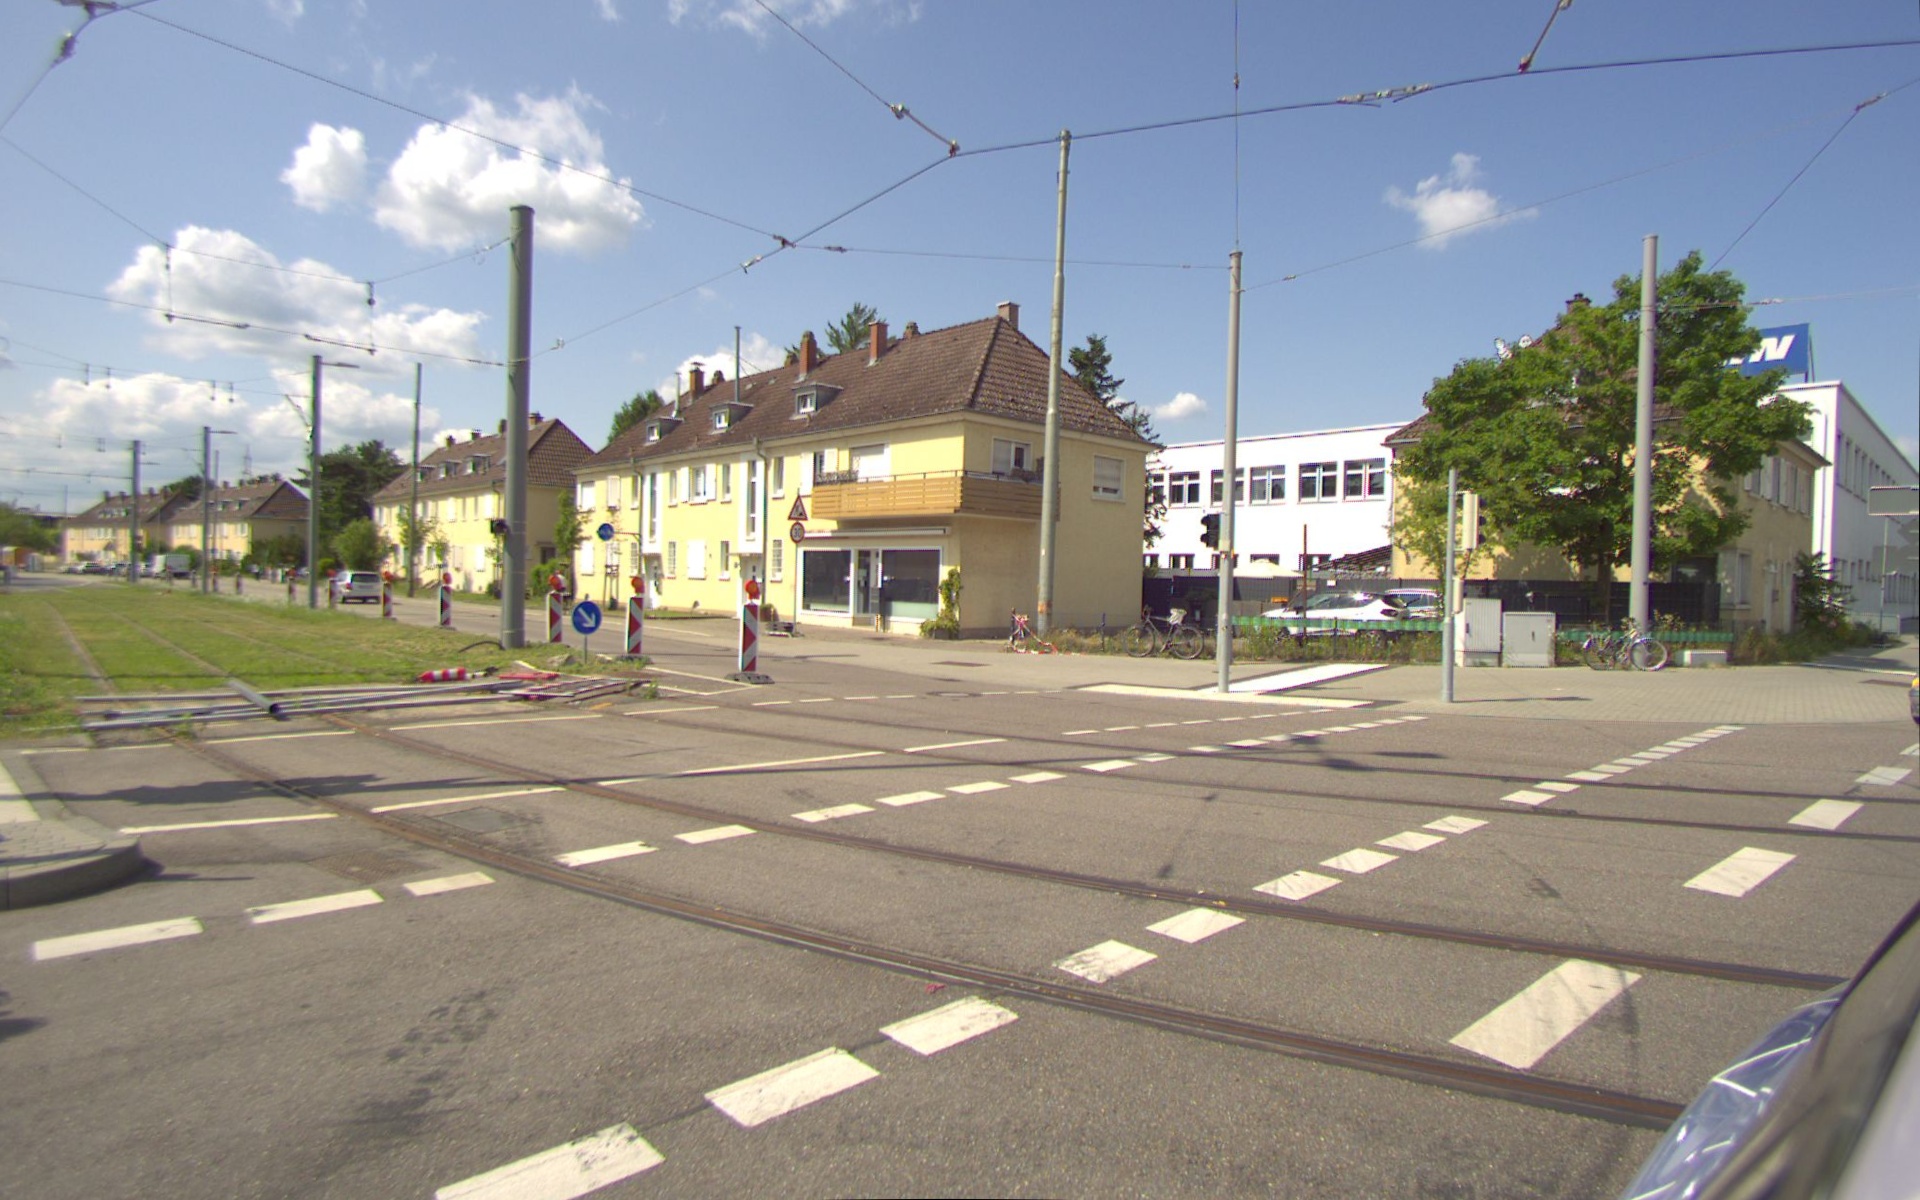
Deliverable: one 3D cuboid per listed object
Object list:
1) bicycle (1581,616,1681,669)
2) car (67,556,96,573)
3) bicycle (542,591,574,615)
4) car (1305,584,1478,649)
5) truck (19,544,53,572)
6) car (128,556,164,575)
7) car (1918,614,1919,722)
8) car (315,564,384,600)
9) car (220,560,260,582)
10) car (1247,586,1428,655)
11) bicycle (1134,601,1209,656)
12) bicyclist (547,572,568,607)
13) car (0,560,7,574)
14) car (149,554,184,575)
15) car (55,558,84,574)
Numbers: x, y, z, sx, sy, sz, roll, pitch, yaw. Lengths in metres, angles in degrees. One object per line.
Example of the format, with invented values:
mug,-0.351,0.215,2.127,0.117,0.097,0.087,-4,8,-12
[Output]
bicycle,13.607,0.857,20.540,1.722,1.031,0.463,0,0,0
car,-97.538,-3.890,112.358,3.982,1.746,1.971,0,1,41
bicycle,-14.701,0.100,36.995,0.497,0.790,1.580,0,2,-44
car,12.040,0.416,28.378,4.106,1.617,1.772,2,1,44
truck,-113.447,-5.091,124.221,5.301,3.266,1.975,0,0,35
car,-77.425,-3.264,96.265,3.982,1.746,1.971,0,1,41
car,14.868,0.886,13.526,4.372,1.415,1.729,0,0,-28
car,-27.023,-0.818,44.761,1.706,1.421,4.007,5,-2,-44
car,-58.769,-2.366,82.592,3.986,1.746,1.969,0,1,43
car,9.914,0.493,26.756,4.106,1.617,1.772,2,1,44
bicycle,4.569,0.605,21.924,1.556,1.152,0.378,0,0,23
bicyclist,-14.732,-0.377,37.029,0.501,1.249,0.577,0,2,-45
car,-125.742,-4.260,131.560,3.973,1.746,1.975,0,0,35
car,-71.928,-3.203,91.763,3.986,1.746,1.969,0,1,43
car,-102.154,-3.911,116.112,3.982,1.746,1.971,0,1,41
